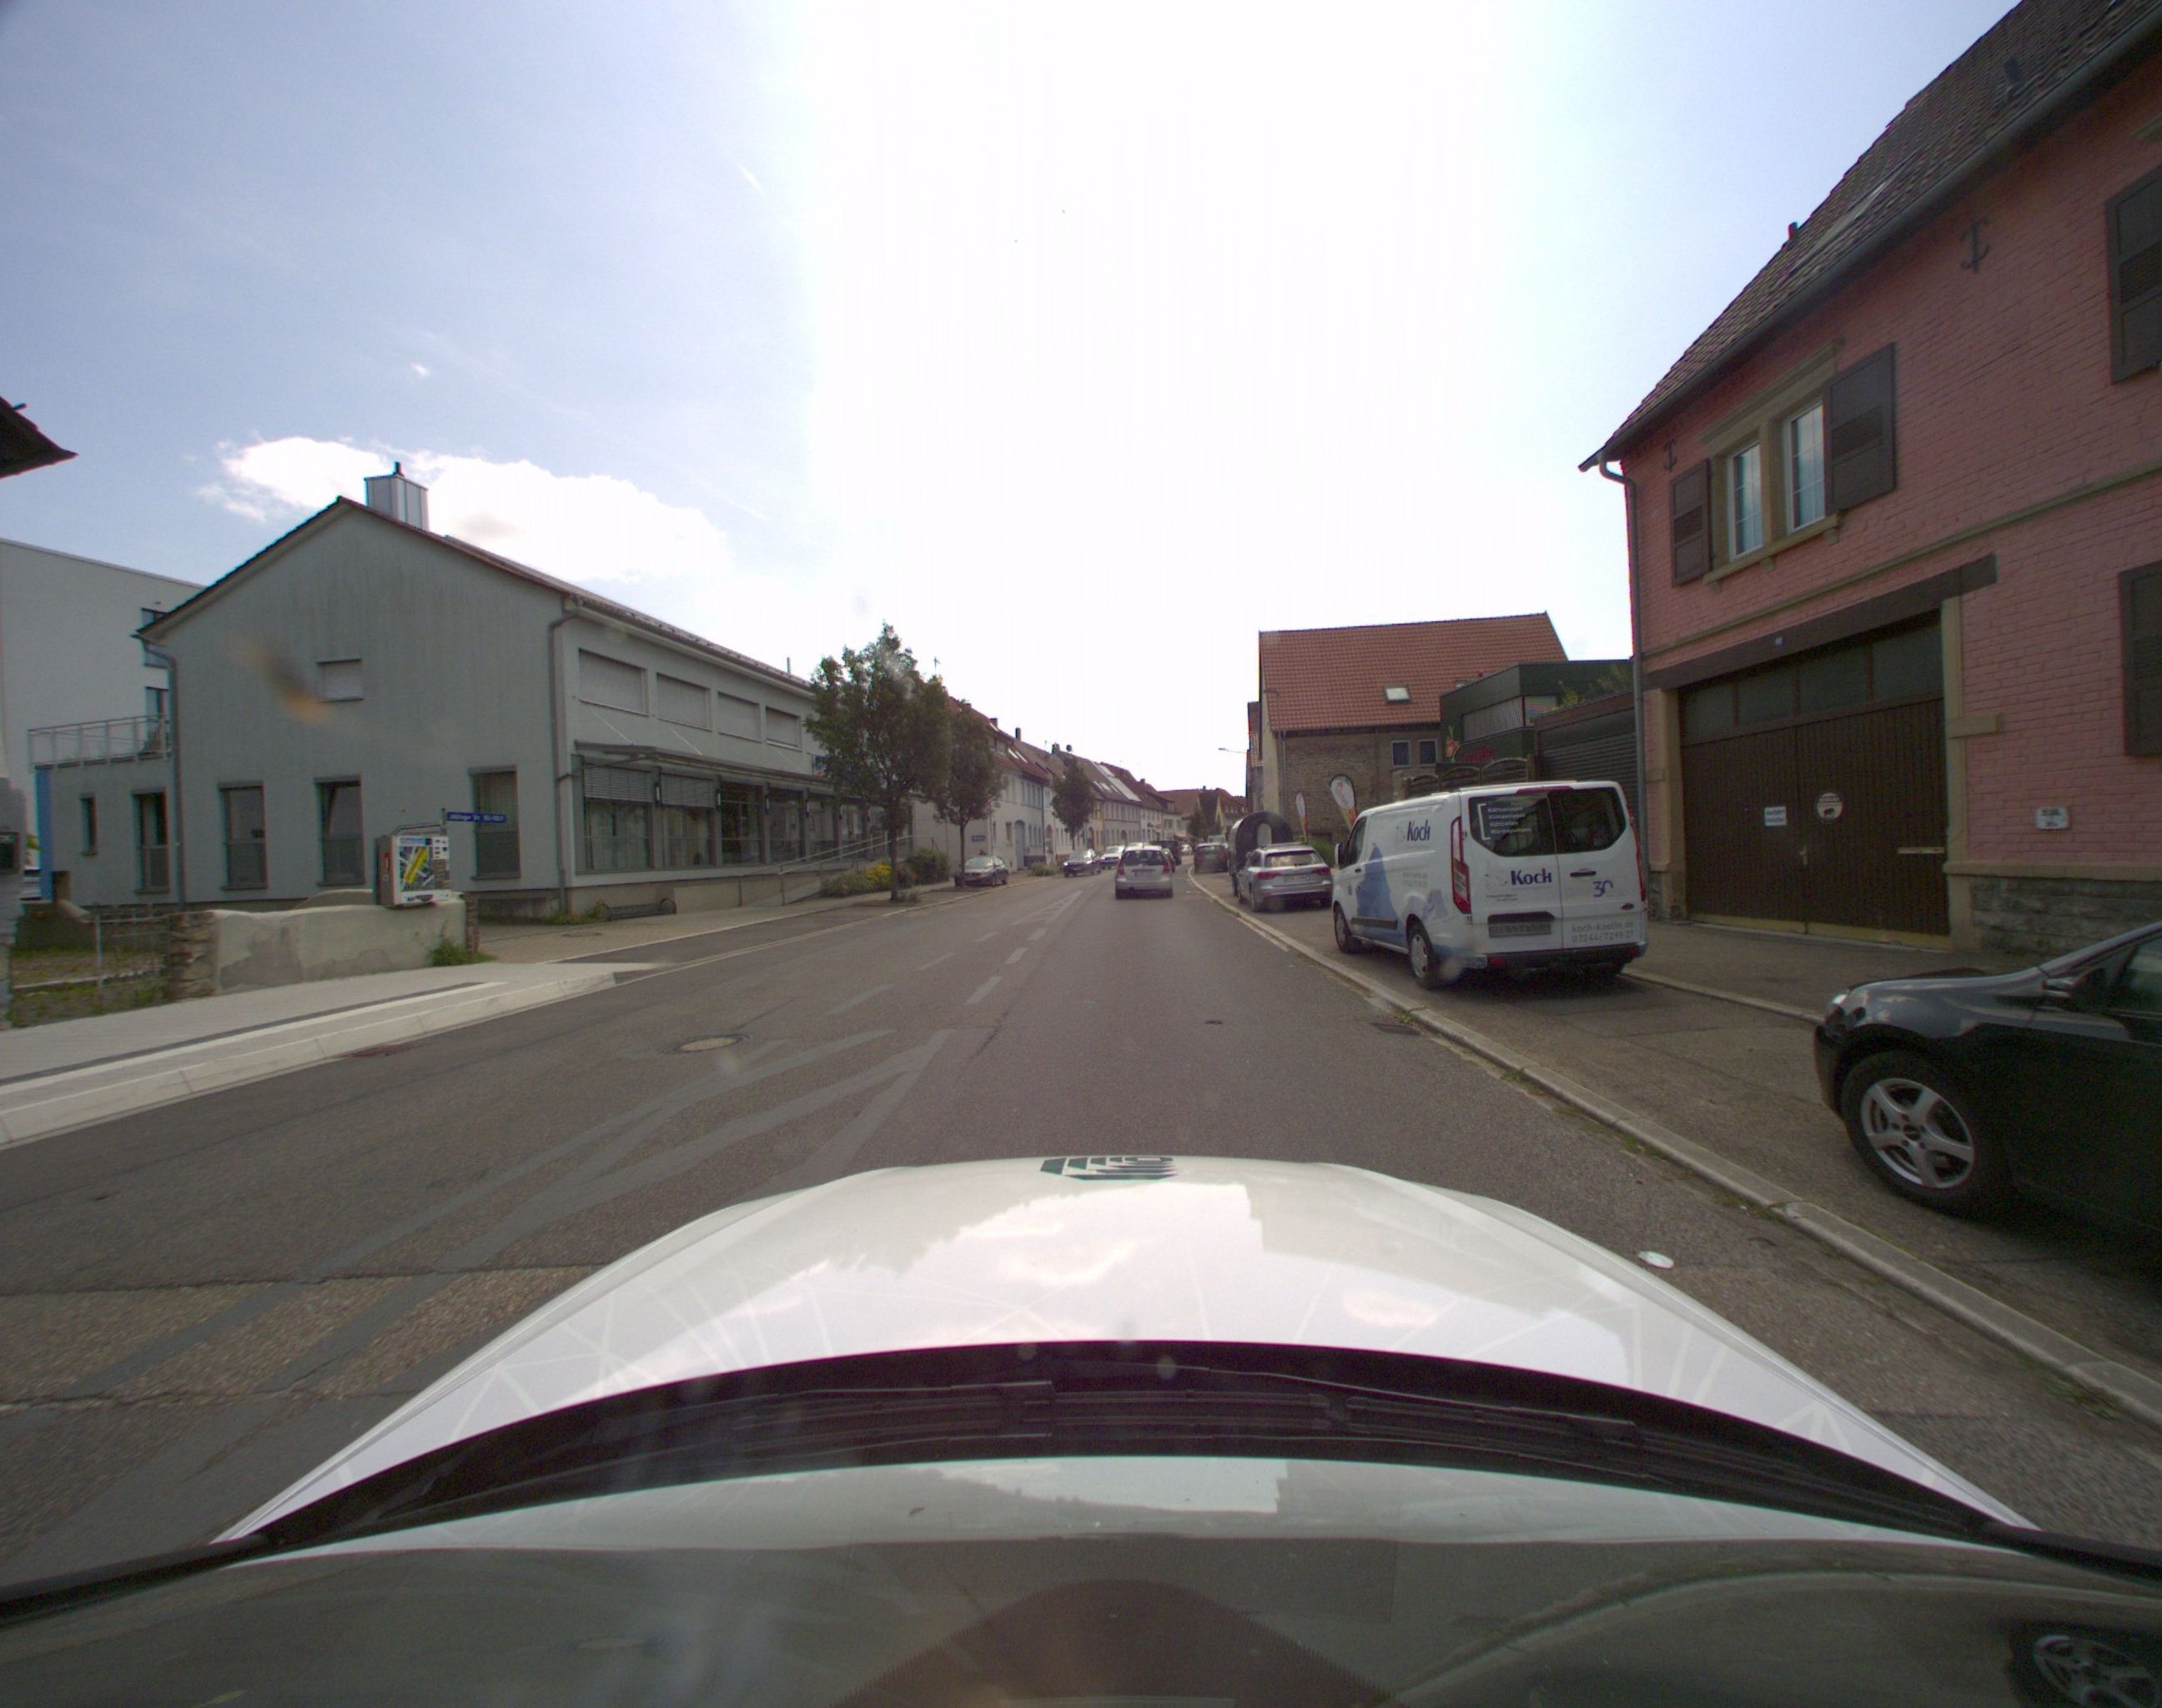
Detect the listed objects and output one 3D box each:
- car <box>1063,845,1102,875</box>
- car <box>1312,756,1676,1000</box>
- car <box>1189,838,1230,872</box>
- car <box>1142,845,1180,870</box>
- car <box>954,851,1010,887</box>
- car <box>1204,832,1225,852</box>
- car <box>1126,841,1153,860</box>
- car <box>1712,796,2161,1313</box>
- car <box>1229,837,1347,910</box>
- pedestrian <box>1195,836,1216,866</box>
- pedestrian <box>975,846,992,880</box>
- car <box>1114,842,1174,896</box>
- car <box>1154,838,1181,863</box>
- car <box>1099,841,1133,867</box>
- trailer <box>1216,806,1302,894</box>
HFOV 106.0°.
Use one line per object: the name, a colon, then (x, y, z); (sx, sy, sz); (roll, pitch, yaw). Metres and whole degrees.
car: (0.135, 0.310, 47.837); (1.734, 1.526, 4.027); (-4, 0, 7)
car: (4.317, 0.188, 9.618); (1.884, 1.982, 4.935); (-5, 0, 3)
car: (6.895, 0.008, 43.394); (1.981, 1.559, 4.012); (-4, 1, 10)
car: (4.718, 0.175, 47.698); (1.933, 1.407, 4.011); (0, 0, 9)
car: (-4.506, 0.652, 37.753); (1.797, 1.460, 4.162); (-2, 1, 3)
car: (16.842, -1.483, 102.303); (2.220, 2.222, 4.014); (-4, 0, 13)
car: (6.378, -0.373, 88.351); (2.076, 1.884, 4.016); (-3, 0, 14)
car: (4.041, 0.567, 2.053); (1.767, 1.495, 4.165); (-4, 0, 3)
car: (4.807, 0.431, 19.604); (1.867, 1.481, 4.678); (-2, 0, 3)
pedestrian: (8.015, -0.195, 52.442); (1.087, 1.821, 1.476); (-3, 0, 16)
pedestrian: (-5.297, 0.488, 44.261); (0.735, 1.801, 0.643); (-4, -1, 4)
car: (1.993, 0.434, 26.027); (1.761, 1.594, 4.004); (0, 0, 3)
car: (6.853, -0.252, 64.229); (1.757, 1.887, 4.460); (0, 0, 11)
car: (2.656, -0.014, 60.039); (1.943, 1.784, 4.664); (-2, 1, 9)
trailer: (5.255, -0.128, 24.493); (1.837, 2.354, 3.592); (-3, 1, 3)
